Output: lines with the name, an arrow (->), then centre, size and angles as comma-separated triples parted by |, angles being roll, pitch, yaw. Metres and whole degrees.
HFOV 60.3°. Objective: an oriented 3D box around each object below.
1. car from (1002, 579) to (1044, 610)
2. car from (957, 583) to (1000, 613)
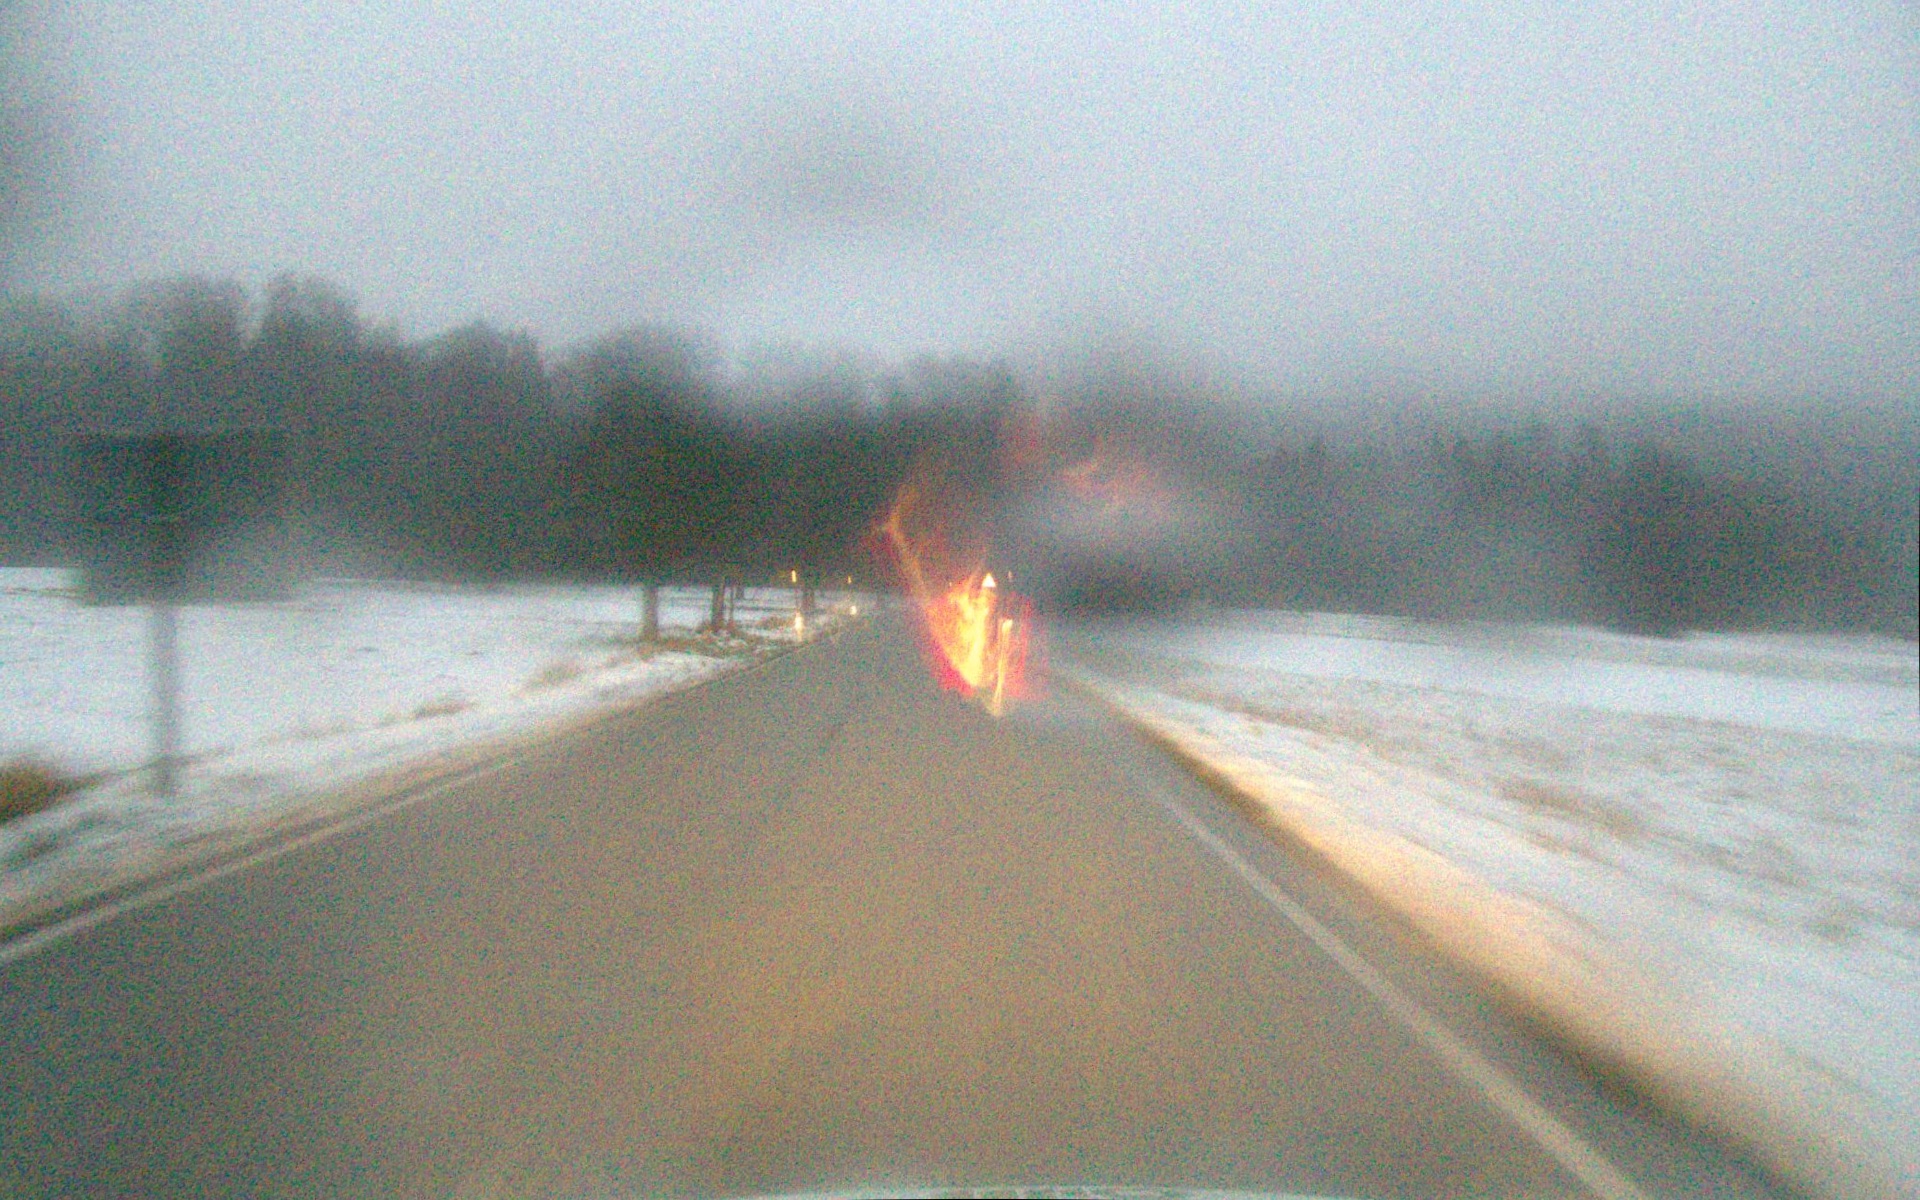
car -> 5.740, -0.523, 149.714 | 2.206, 2.691, 5.006 | 1, 1, 22
car -> 1.411, -0.147, 124.644 | 1.952, 2.087, 4.001 | 3, 1, 19
